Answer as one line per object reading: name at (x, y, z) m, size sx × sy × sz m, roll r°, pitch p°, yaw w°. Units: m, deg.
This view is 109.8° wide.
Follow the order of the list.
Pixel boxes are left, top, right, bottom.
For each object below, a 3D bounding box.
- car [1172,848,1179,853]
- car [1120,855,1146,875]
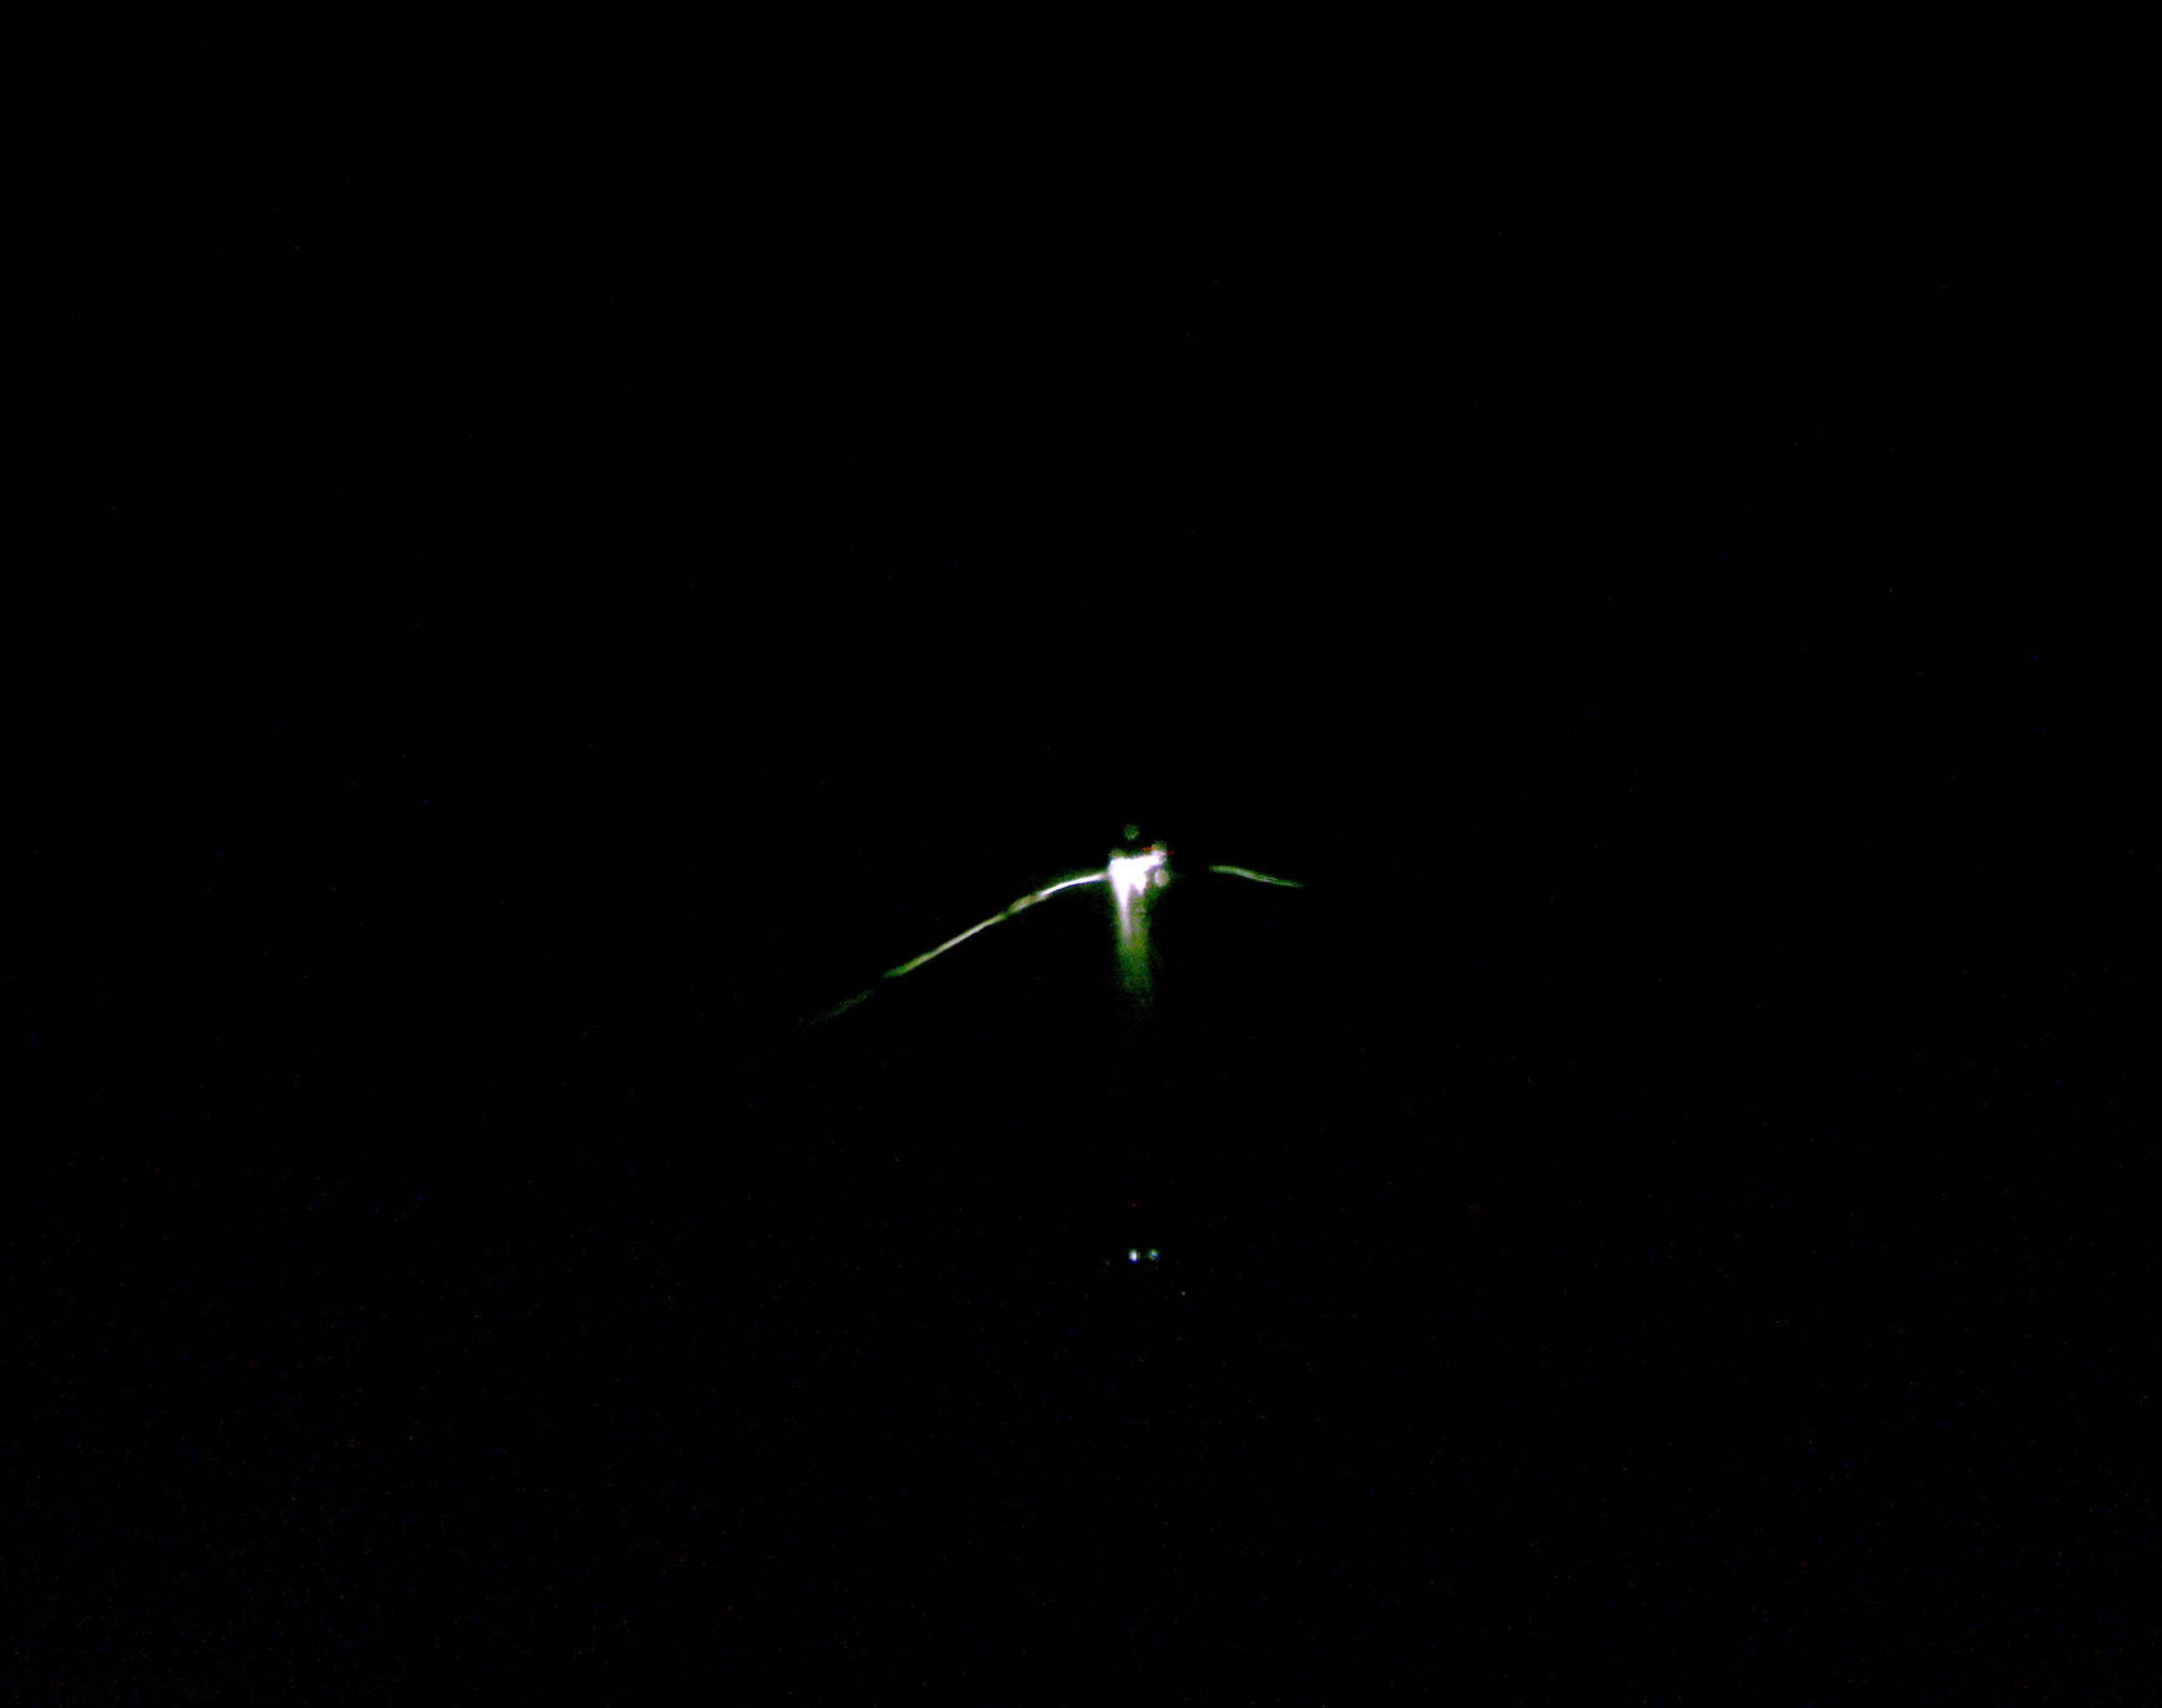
car at (27.983, -1.132, 225.279) m, size 1.921 × 1.455 × 4.262 m, roll -3°, pitch 0°, yaw 9°
car at (4.381, 0.906, 63.009) m, size 1.775 × 1.444 × 4.138 m, roll -4°, pitch -1°, yaw 8°
